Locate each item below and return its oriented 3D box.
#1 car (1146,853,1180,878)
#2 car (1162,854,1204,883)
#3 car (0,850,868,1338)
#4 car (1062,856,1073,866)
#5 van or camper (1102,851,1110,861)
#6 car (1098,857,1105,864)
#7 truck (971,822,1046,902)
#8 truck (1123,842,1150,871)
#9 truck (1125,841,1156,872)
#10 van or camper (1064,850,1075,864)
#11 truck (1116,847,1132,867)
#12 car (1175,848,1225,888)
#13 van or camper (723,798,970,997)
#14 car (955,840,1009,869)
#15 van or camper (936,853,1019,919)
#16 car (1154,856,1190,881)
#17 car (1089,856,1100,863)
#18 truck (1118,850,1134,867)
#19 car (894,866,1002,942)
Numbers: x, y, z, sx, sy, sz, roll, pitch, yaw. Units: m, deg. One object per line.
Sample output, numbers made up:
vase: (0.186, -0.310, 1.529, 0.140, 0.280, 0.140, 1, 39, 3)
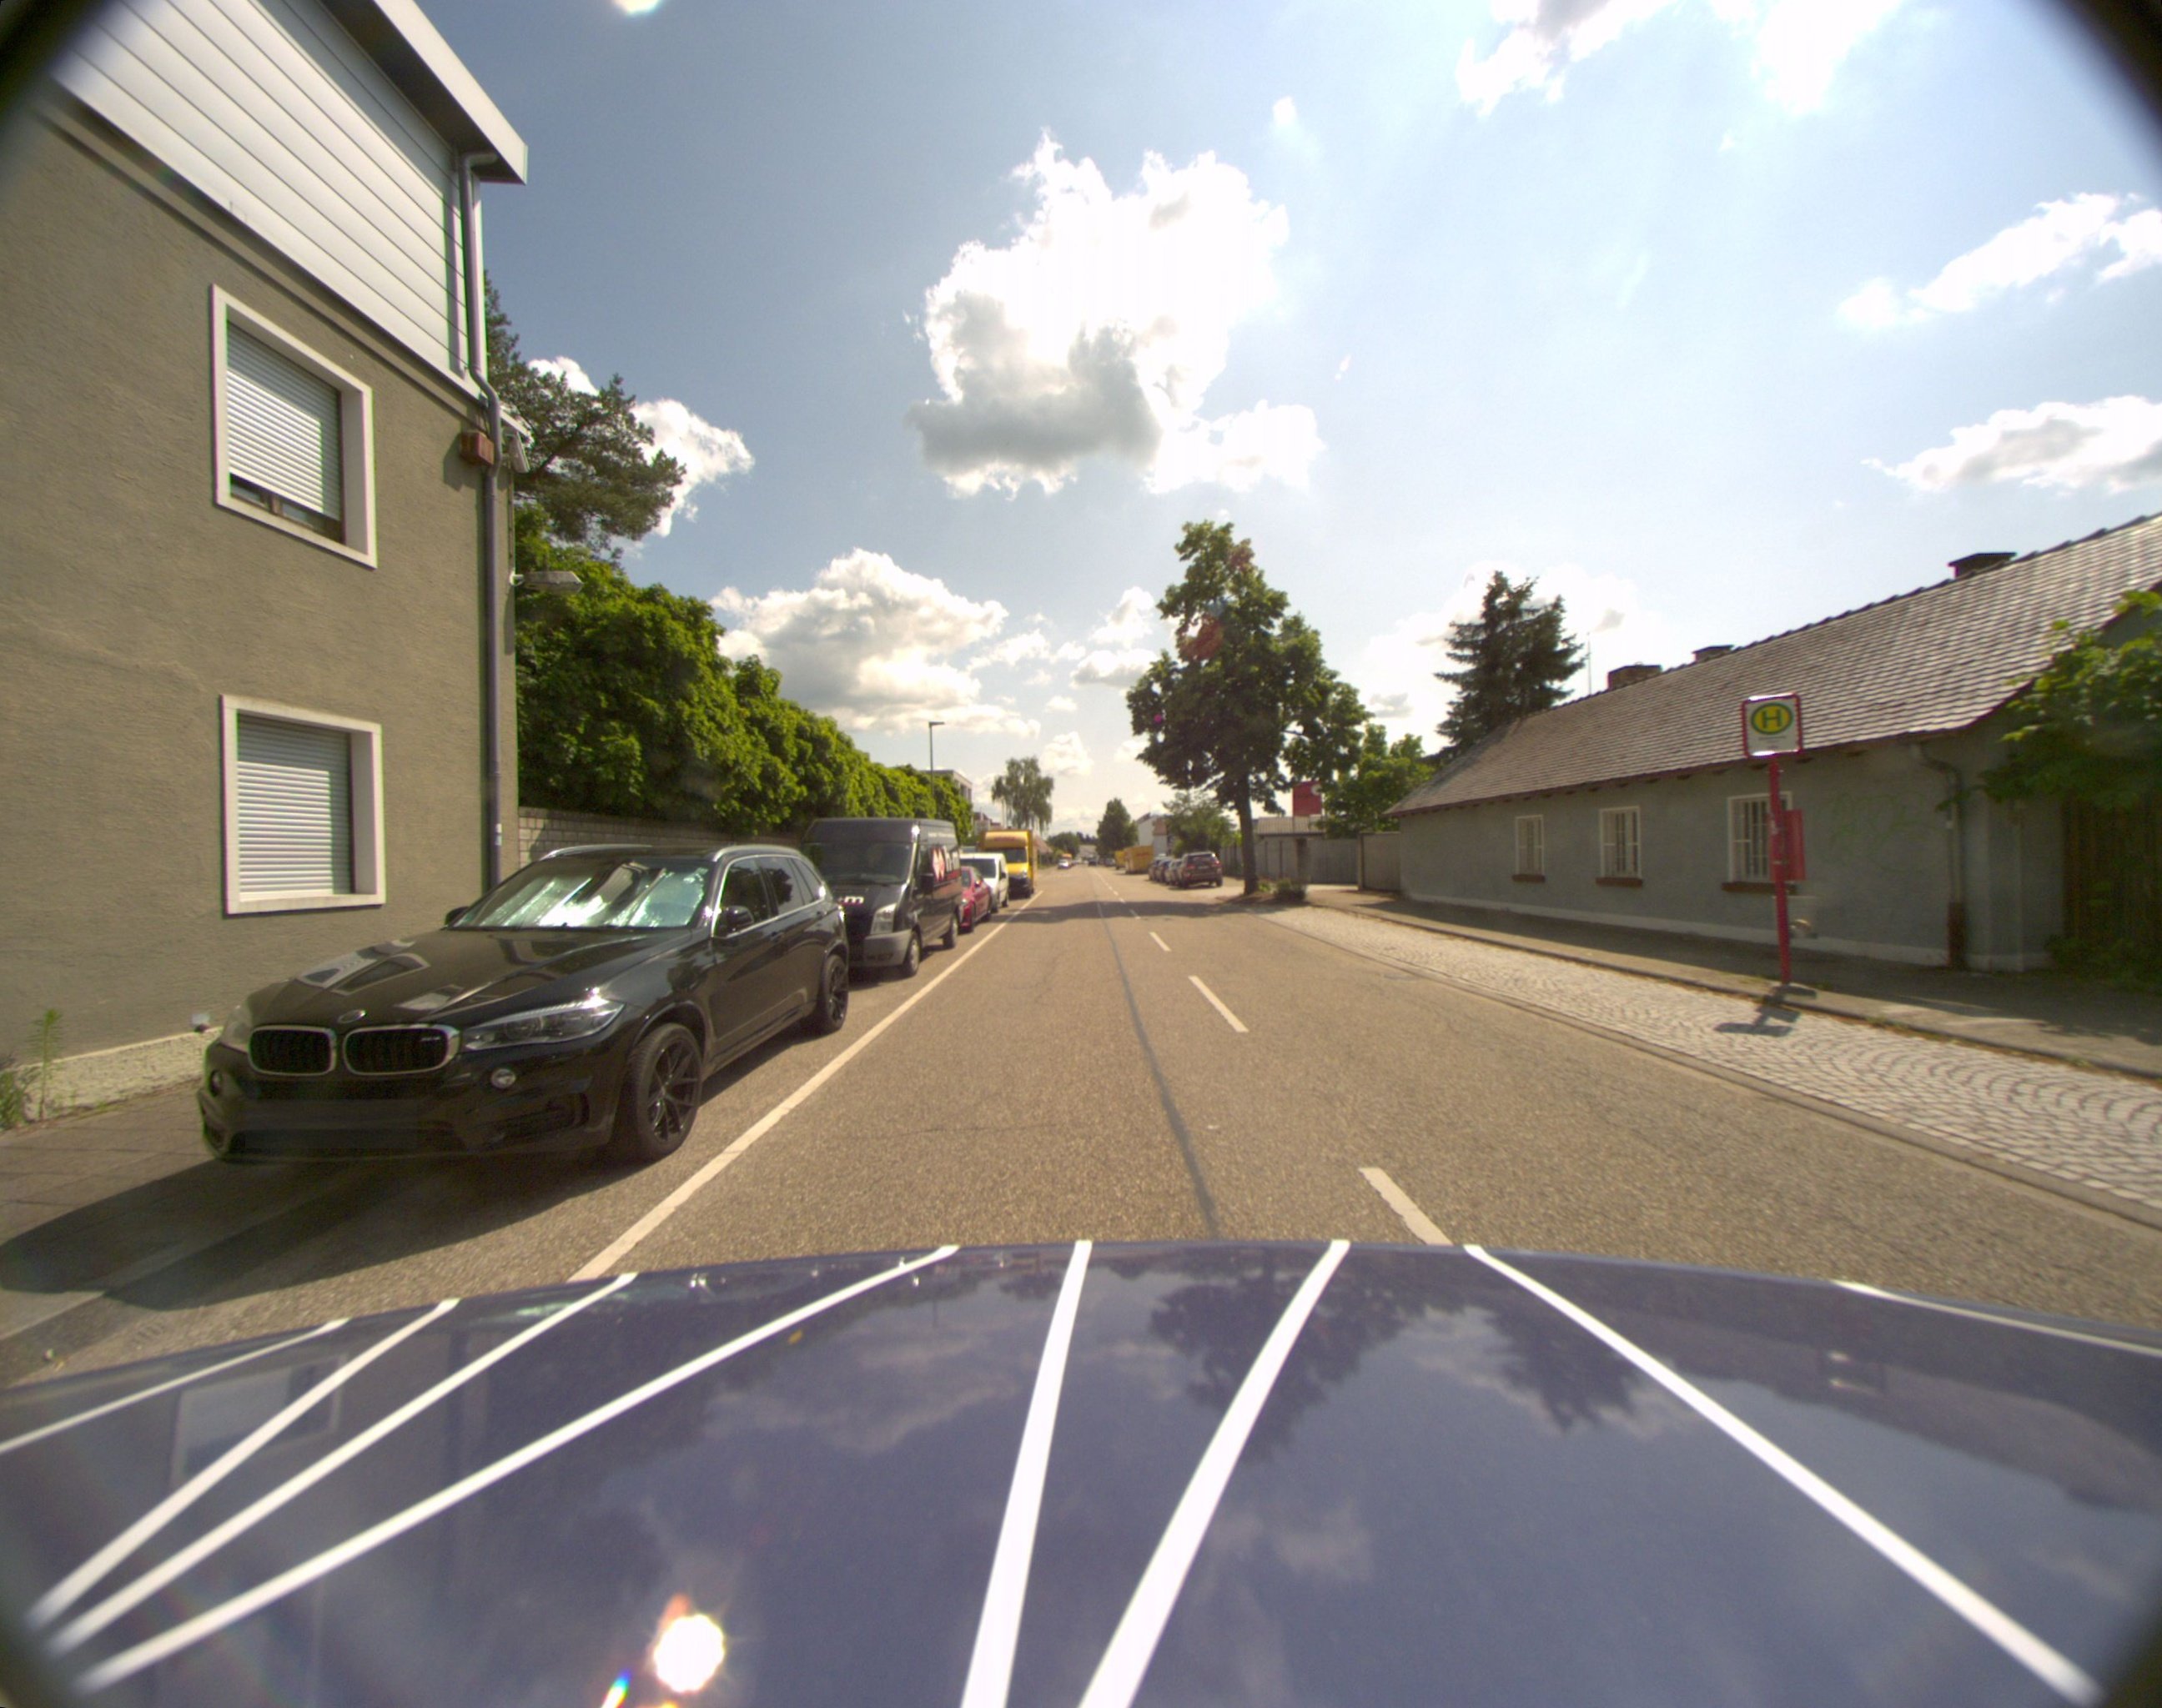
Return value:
car: (5.939, 0.799, 55.426, 1.729, 1.595, 4.413, -5, 0, -1)
car: (5.923, 0.826, 44.602, 1.737, 1.509, 4.742, -4, 0, 0)
car: (-3.200, 0.915, 5.396, 1.965, 1.770, 4.953, -3, 0, -1)
car: (-2.224, 1.084, 124.719, 1.614, 1.571, 4.000, -3, 0, 2)
van or camper: (6.195, 0.463, 187.553, 1.998, 2.303, 5.935, -1, 0, 3)
car: (5.807, 1.696, 214.620, 1.814, 1.795, 4.491, -5, 0, 0)
truck: (-2.923, 0.298, 32.636, 2.481, 2.923, 7.187, -3, 0, -1)
truck: (5.956, 0.295, 82.498, 2.275, 2.837, 7.174, -3, 0, 0)
truck: (5.825, 0.226, 75.282, 2.322, 2.846, 7.104, -4, 0, 0)
van or camper: (-2.301, 0.666, 148.703, 1.999, 2.648, 5.768, -2, 0, -1)
truck: (6.542, 0.437, 116.085, 2.226, 2.840, 7.070, -3, 0, 2)
car: (6.016, 0.670, 38.877, 1.923, 1.811, 4.785, -3, 1, 3)
van or camper: (-3.198, 0.513, 11.808, 1.998, 2.278, 5.447, -3, 0, 0)
car: (-9.331, 0.033, 71.653, 4.922, 2.636, 2.072, -1, 1, -7)
van or camper: (-3.206, 0.928, 24.734, 1.763, 1.795, 5.587, -2, 0, 1)
car: (5.917, 0.928, 49.802, 1.632, 1.440, 4.026, -6, 0, -1)
car: (2.911, 1.227, 165.661, 1.999, 1.386, 4.591, -3, 0, -5)
truck: (6.458, 0.627, 109.103, 1.998, 2.399, 6.065, -3, 0, 2)
car: (-3.046, 1.089, 18.375, 1.686, 1.434, 4.766, -2, 0, 0)
